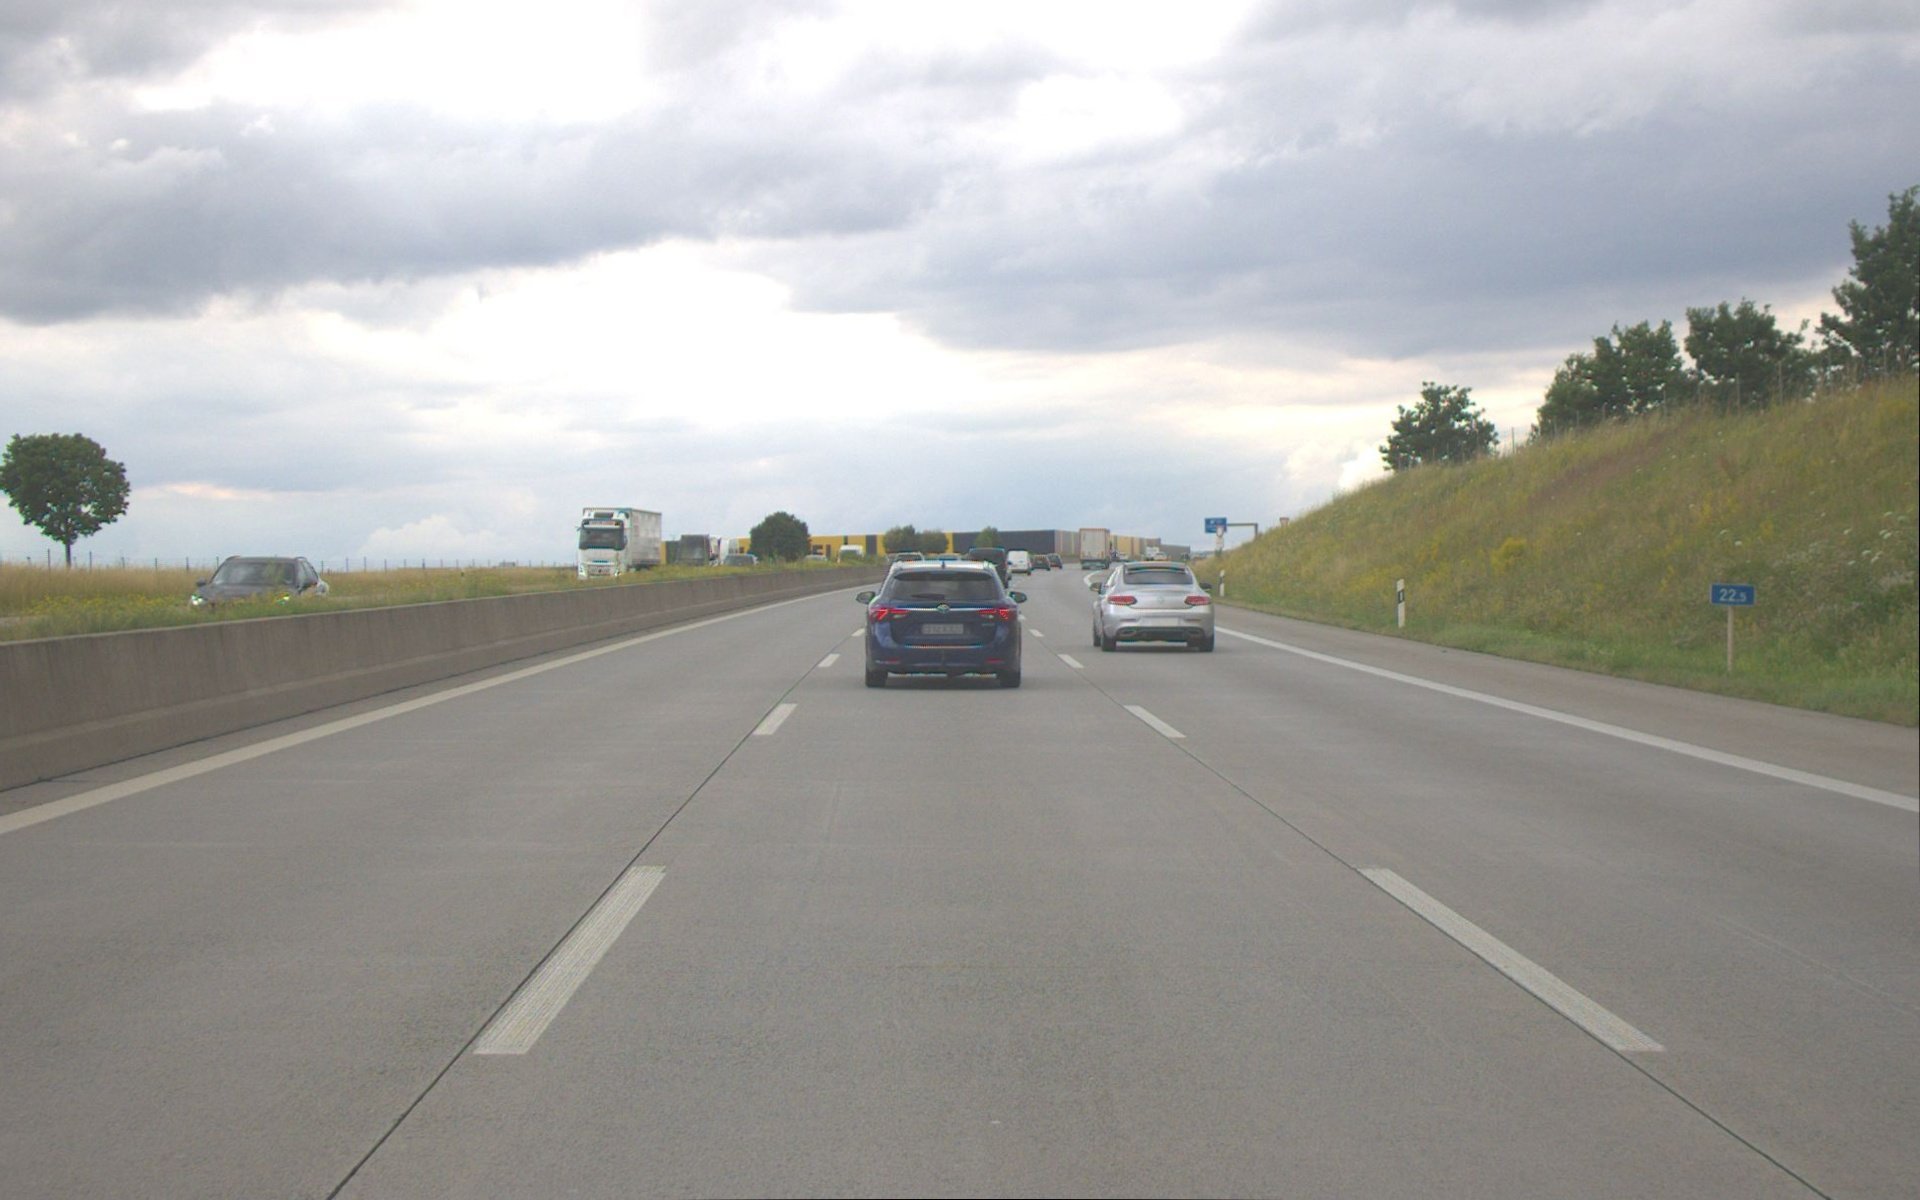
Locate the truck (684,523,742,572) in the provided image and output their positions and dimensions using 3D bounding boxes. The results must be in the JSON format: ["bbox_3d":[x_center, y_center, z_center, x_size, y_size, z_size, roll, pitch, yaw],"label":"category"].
[{"bbox_3d":[-13.848,-2.943,192.832,2.616,2.716,6.919,1,1,1],"label":"truck"}]

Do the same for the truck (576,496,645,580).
[{"bbox_3d":[-18.146,-3.171,178.840,2.841,4.241,6.091,1,0,1],"label":"truck"}]

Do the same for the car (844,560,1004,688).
[{"bbox_3d":[-0.375,0.253,40.098,1.774,1.408,4.000,0,0,1],"label":"car"}]

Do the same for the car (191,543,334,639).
[{"bbox_3d":[-11.978,-0.182,59.264,1.689,1.604,4.000,0,1,0],"label":"car"}]

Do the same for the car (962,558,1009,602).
[{"bbox_3d":[1.151,-0.917,158.848,1.993,2.007,4.000,1,0,-2],"label":"car"}]

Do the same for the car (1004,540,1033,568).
[{"bbox_3d":[4.357,-3.405,255.105,1.994,2.007,4.000,1,0,3],"label":"car"}]

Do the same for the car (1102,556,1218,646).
[{"bbox_3d":[3.192,0.005,55.583,1.789,1.399,4.221,0,0,2],"label":"car"}]

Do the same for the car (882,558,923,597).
[{"bbox_3d":[-2.982,-1.155,177.523,2.046,2.007,4.000,1,0,-1],"label":"car"}]

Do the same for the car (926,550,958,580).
[{"bbox_3d":[-1.253,-2.361,233.723,1.993,2.007,4.000,1,0,-2],"label":"car"}]
